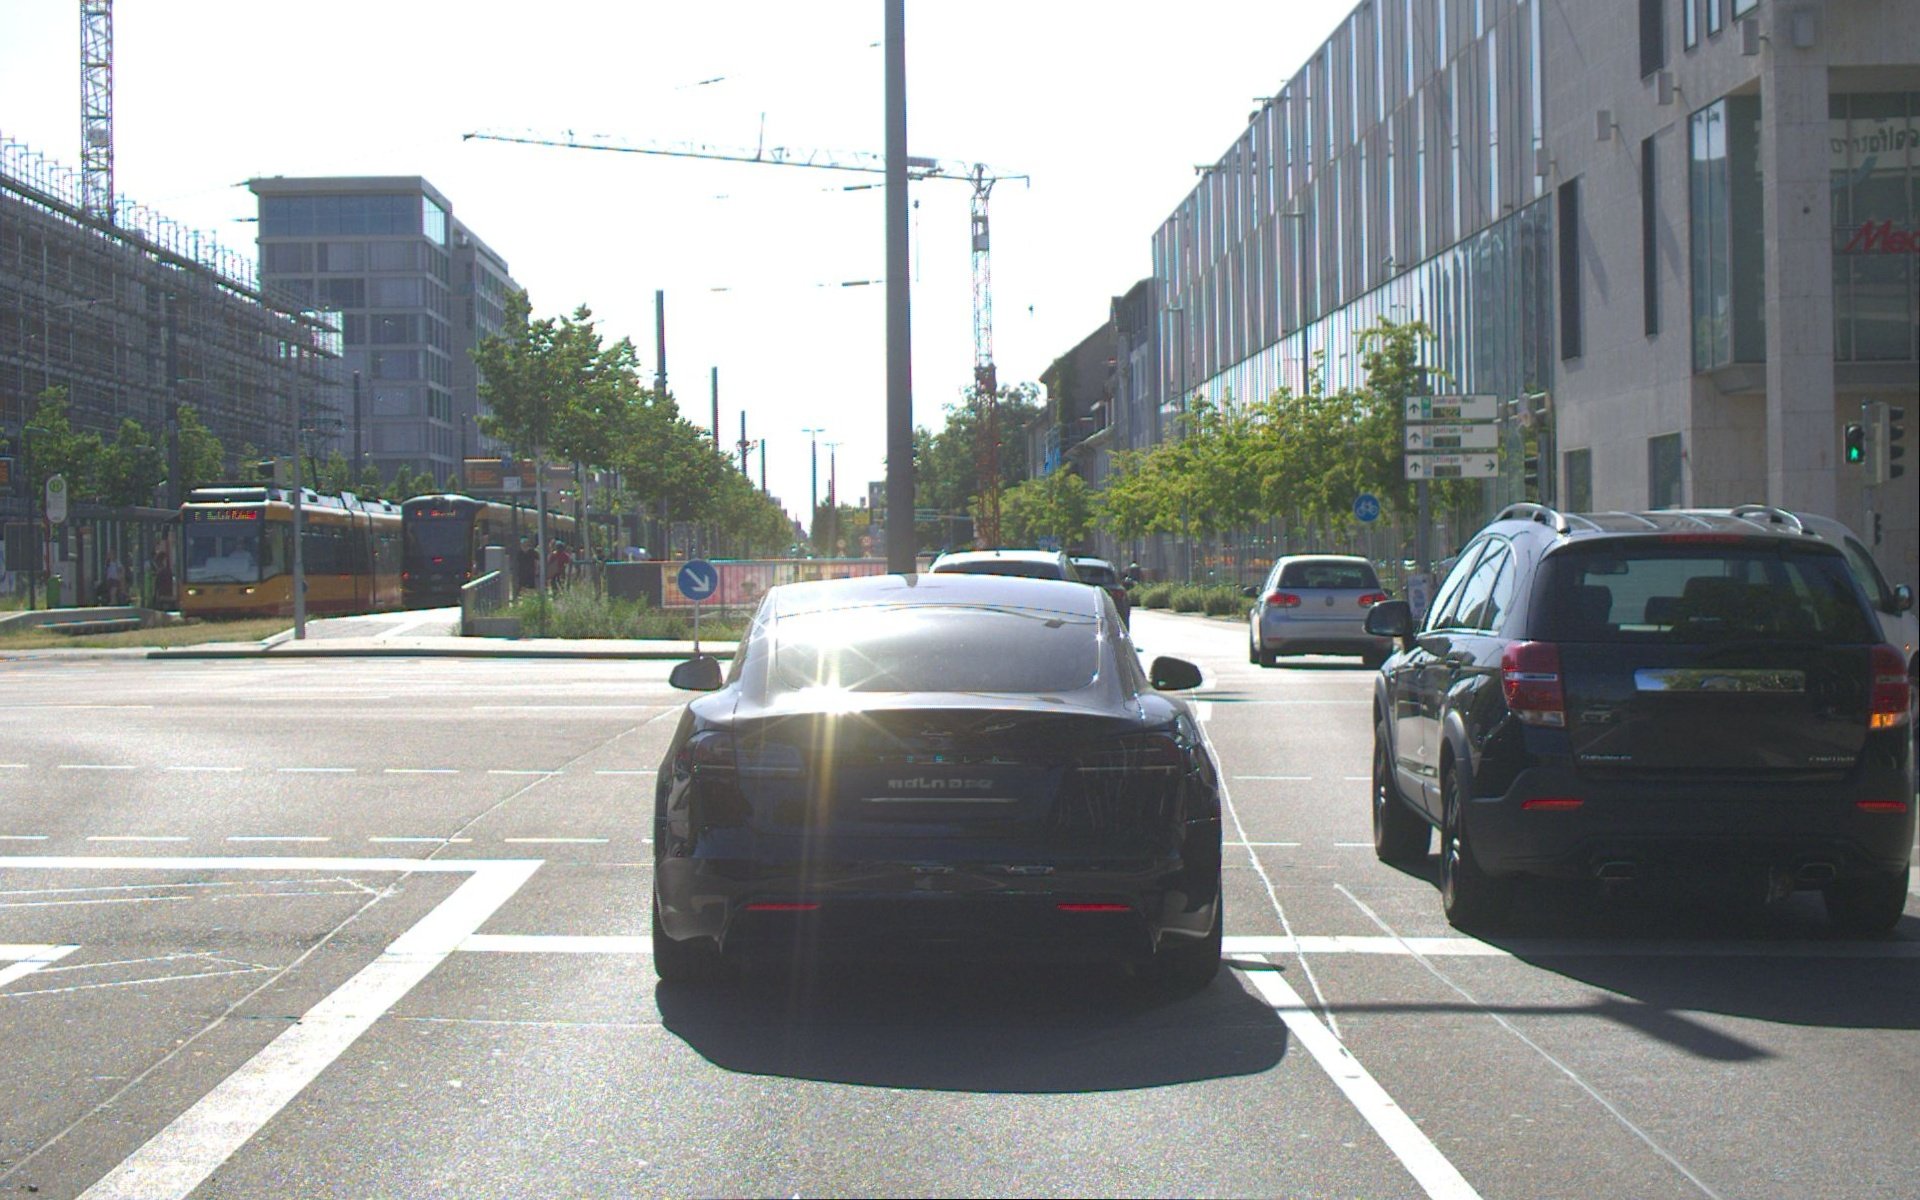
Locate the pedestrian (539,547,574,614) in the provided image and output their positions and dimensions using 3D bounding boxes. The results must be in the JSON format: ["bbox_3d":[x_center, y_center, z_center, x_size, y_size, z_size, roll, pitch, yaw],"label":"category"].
[{"bbox_3d":[-9.908,-0.484,84.410,0.741,1.623,0.861,0,0,0],"label":"pedestrian"}]

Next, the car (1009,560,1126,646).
[{"bbox_3d":[1.708,0.024,55.614,1.716,1.315,4.000,0,1,-1],"label":"car"}]

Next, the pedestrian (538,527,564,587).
[{"bbox_3d":[-12.418,-1.301,104.494,0.671,1.804,1.075,-1,0,-2],"label":"pedestrian"}]

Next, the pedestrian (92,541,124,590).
[{"bbox_3d":[-21.401,-0.865,86.382,0.671,1.222,0.506,1,0,-4],"label":"pedestrian"}]

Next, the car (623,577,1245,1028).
[{"bbox_3d":[-0.094,0.639,13.296,1.999,1.429,4.413,0,1,0],"label":"car"}]

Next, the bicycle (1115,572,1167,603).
[{"bbox_3d":[7.074,-0.487,134.186,1.881,1.147,0.672,-2,0,-11],"label":"bicycle"}]

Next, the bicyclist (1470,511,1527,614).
[{"bbox_3d":[9.194,-0.645,58.731,0.724,1.731,0.998,-1,0,-5],"label":"bicyclist"}]

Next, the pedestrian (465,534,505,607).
[{"bbox_3d":[-11.763,-0.726,85.109,0.874,1.769,1.189,1,1,-4],"label":"pedestrian"}]

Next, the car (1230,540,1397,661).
[{"bbox_3d":[4.663,-0.023,45.782,1.784,1.540,4.039,0,1,0],"label":"car"}]

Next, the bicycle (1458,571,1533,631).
[{"bbox_3d":[9.192,0.007,59.063,0.728,0.980,2.333,-1,1,-5],"label":"bicycle"}]

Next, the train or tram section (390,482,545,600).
[{"bbox_3d":[-14.743,-1.740,104.075,2.870,3.268,15.186,1,1,-2],"label":"train or tram section"}]

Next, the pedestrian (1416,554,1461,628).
[{"bbox_3d":[10.772,-0.201,77.427,0.821,1.652,0.900,0,0,-5],"label":"pedestrian"}]

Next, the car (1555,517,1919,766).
[{"bbox_3d":[6.086,0.248,26.062,1.787,1.728,4.156,0,1,30],"label":"car"}]

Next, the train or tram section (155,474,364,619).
[{"bbox_3d":[-17.439,-1.320,86.526,2.870,3.298,13.074,1,1,-2],"label":"train or tram section"}]

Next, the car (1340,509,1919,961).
[{"bbox_3d":[2.820,0.473,15.117,1.784,1.693,4.413,0,1,0],"label":"car"}]

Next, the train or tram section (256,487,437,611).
[{"bbox_3d":[-17.820,-1.509,101.068,2.847,3.310,15.967,1,1,-2],"label":"train or tram section"}]

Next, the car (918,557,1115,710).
[{"bbox_3d":[0.471,0.270,32.004,1.716,1.315,4.000,0,1,-1],"label":"car"}]

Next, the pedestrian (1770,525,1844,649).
[{"bbox_3d":[12.565,-0.200,51.029,0.728,1.795,1.066,-3,0,-1],"label":"pedestrian"}]

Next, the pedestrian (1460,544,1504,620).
[{"bbox_3d":[11.723,-0.409,77.201,0.706,1.652,0.900,-3,1,-5],"label":"pedestrian"}]

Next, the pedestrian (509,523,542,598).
[{"bbox_3d":[-10.377,-0.946,82.106,0.703,1.769,0.959,1,1,-4],"label":"pedestrian"}]

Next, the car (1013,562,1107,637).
[{"bbox_3d":[1.985,-0.035,68.970,1.716,1.427,4.000,0,1,-1],"label":"car"}]
